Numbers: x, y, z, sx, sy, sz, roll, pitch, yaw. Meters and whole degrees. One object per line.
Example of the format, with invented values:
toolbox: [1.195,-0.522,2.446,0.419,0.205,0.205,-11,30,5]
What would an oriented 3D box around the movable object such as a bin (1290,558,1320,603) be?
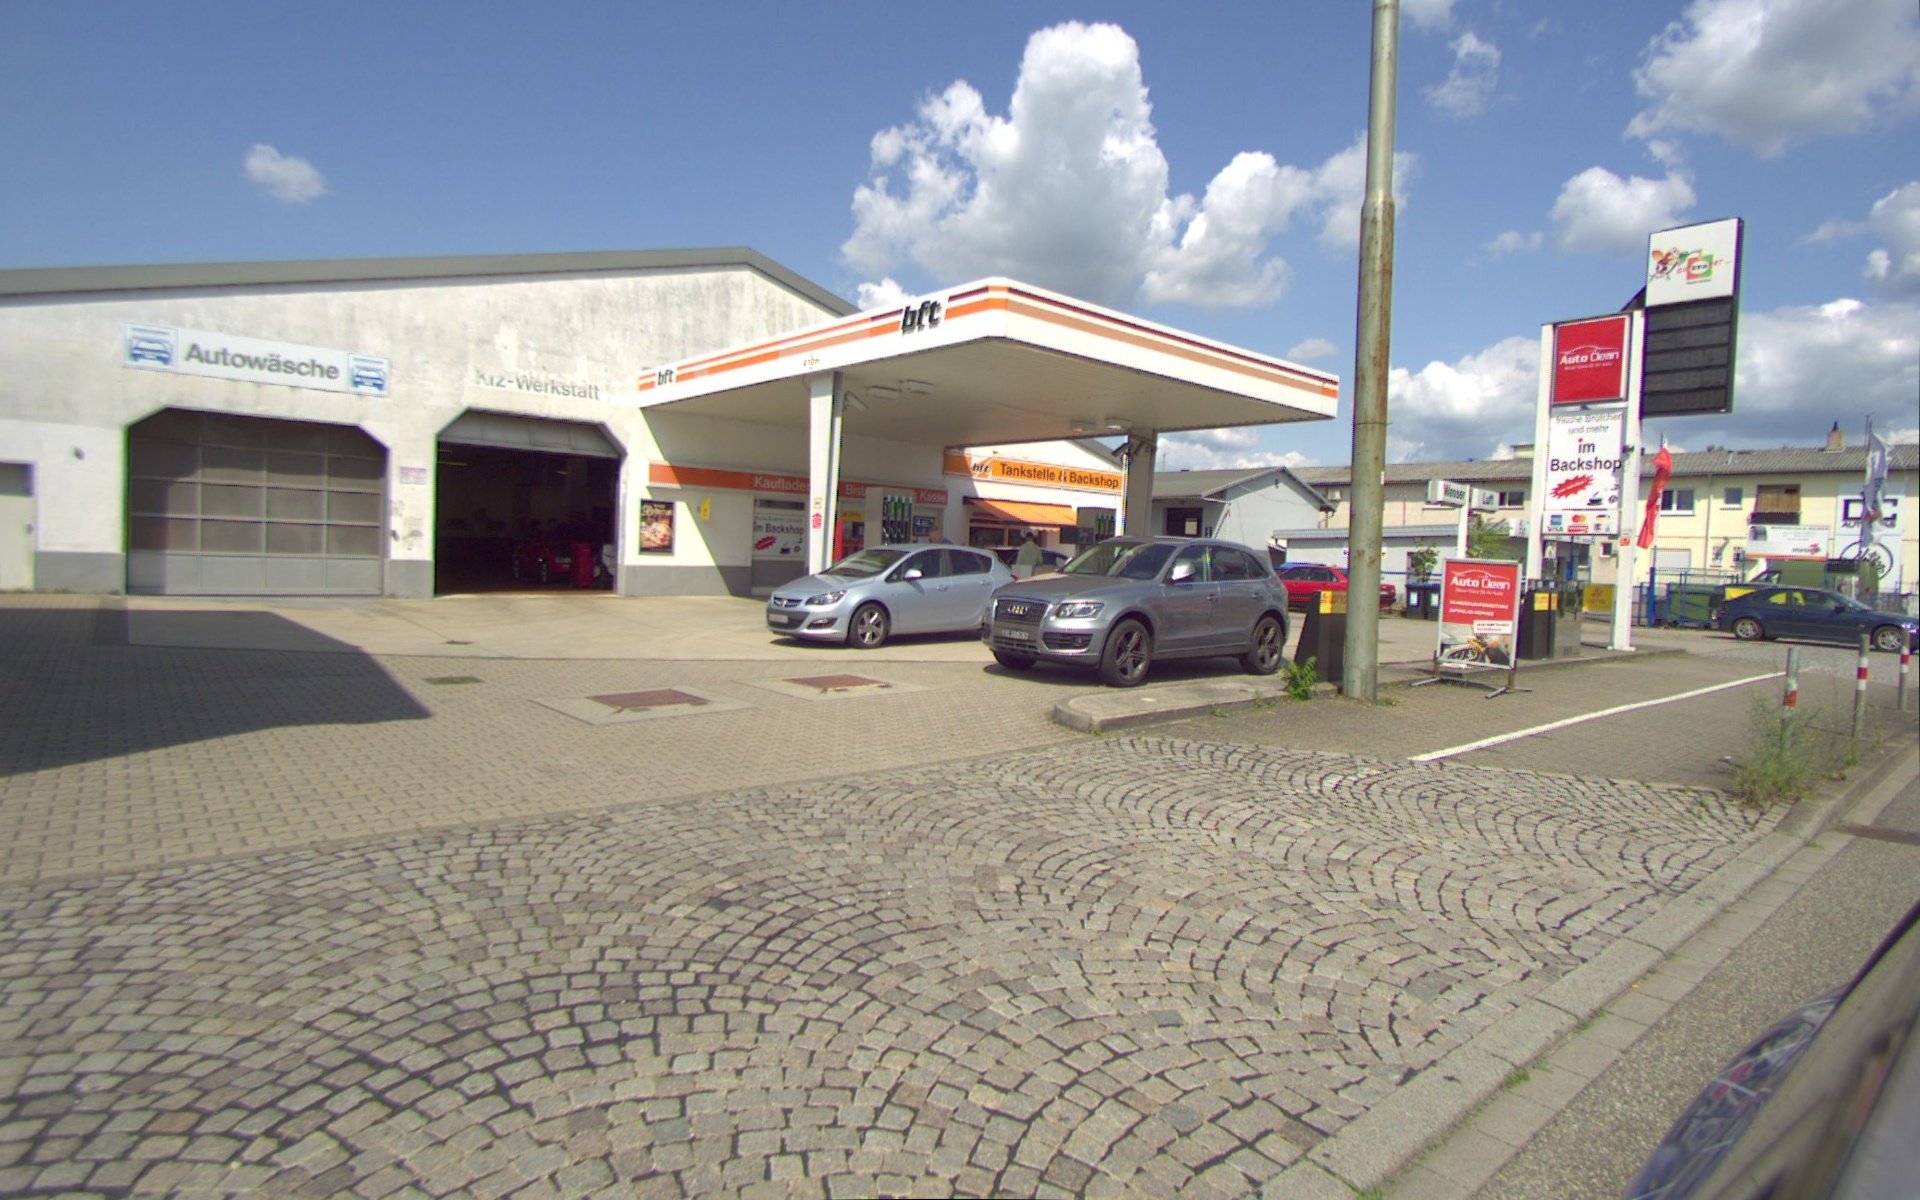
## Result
movable object such as a bin: [11.046,-0.637,32.430,0.694,1.408,0.581,0,3,-42]

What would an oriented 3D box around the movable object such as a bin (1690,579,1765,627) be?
movable object such as a bin: [24.015,0.077,31.677,1.735,1.427,1.535,-1,2,-41]

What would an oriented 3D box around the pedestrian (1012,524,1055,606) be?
pedestrian: [1.590,-0.766,21.986,0.608,1.743,0.686,-1,2,-41]

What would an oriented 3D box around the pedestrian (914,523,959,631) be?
pedestrian: [-0.399,-0.399,17.345,0.568,1.798,0.497,-1,2,-43]

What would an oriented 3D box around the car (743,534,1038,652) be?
car: [-0.937,-0.174,15.344,4.350,1.488,1.694,-1,5,-43]

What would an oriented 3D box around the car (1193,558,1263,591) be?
car: [12.088,-1.169,45.809,1.605,1.369,3.681,2,2,-10]

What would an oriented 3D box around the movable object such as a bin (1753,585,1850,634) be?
movable object such as a bin: [25.167,0.249,30.270,1.679,1.363,1.966,-1,2,-41]

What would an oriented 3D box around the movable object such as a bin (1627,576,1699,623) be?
movable object such as a bin: [22.825,-0.040,32.857,1.735,1.427,1.535,-1,2,-41]

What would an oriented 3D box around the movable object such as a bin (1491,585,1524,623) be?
movable object such as a bin: [15.147,0.101,28.010,0.694,1.023,0.581,-1,2,-42]

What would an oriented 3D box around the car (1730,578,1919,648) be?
car: [21.412,0.258,24.501,1.616,1.425,4.069,-1,4,-34]

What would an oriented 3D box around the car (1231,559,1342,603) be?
car: [11.077,-0.676,34.463,1.461,1.240,3.312,-1,5,-39]

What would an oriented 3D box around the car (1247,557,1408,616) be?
car: [10.834,-0.449,30.062,1.739,1.441,4.147,-1,5,-39]

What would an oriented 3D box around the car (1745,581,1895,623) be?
car: [34.507,0.028,40.730,1.792,1.526,4.267,0,2,-32]

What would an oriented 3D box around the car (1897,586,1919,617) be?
car: [43.904,0.096,44.499,1.490,1.374,3.729,-1,2,-36]

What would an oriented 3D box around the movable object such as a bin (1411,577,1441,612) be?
movable object such as a bin: [13.688,-0.165,29.730,0.694,1.023,0.581,-1,2,-42]

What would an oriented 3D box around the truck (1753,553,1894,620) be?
truck: [36.428,-0.630,42.765,2.071,2.693,4.181,-1,2,-39]

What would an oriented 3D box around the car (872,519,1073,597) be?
car: [0.358,-0.905,22.530,4.413,1.538,1.687,0,4,-41]

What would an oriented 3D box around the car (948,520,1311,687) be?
car: [2.210,-0.043,12.337,4.538,1.644,1.949,-1,4,-43]

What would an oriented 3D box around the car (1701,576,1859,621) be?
car: [30.803,-0.109,38.180,1.789,1.523,4.272,0,2,-24]

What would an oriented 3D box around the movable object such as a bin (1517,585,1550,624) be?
movable object such as a bin: [15.586,0.123,27.492,0.694,1.023,0.581,-1,2,-42]
